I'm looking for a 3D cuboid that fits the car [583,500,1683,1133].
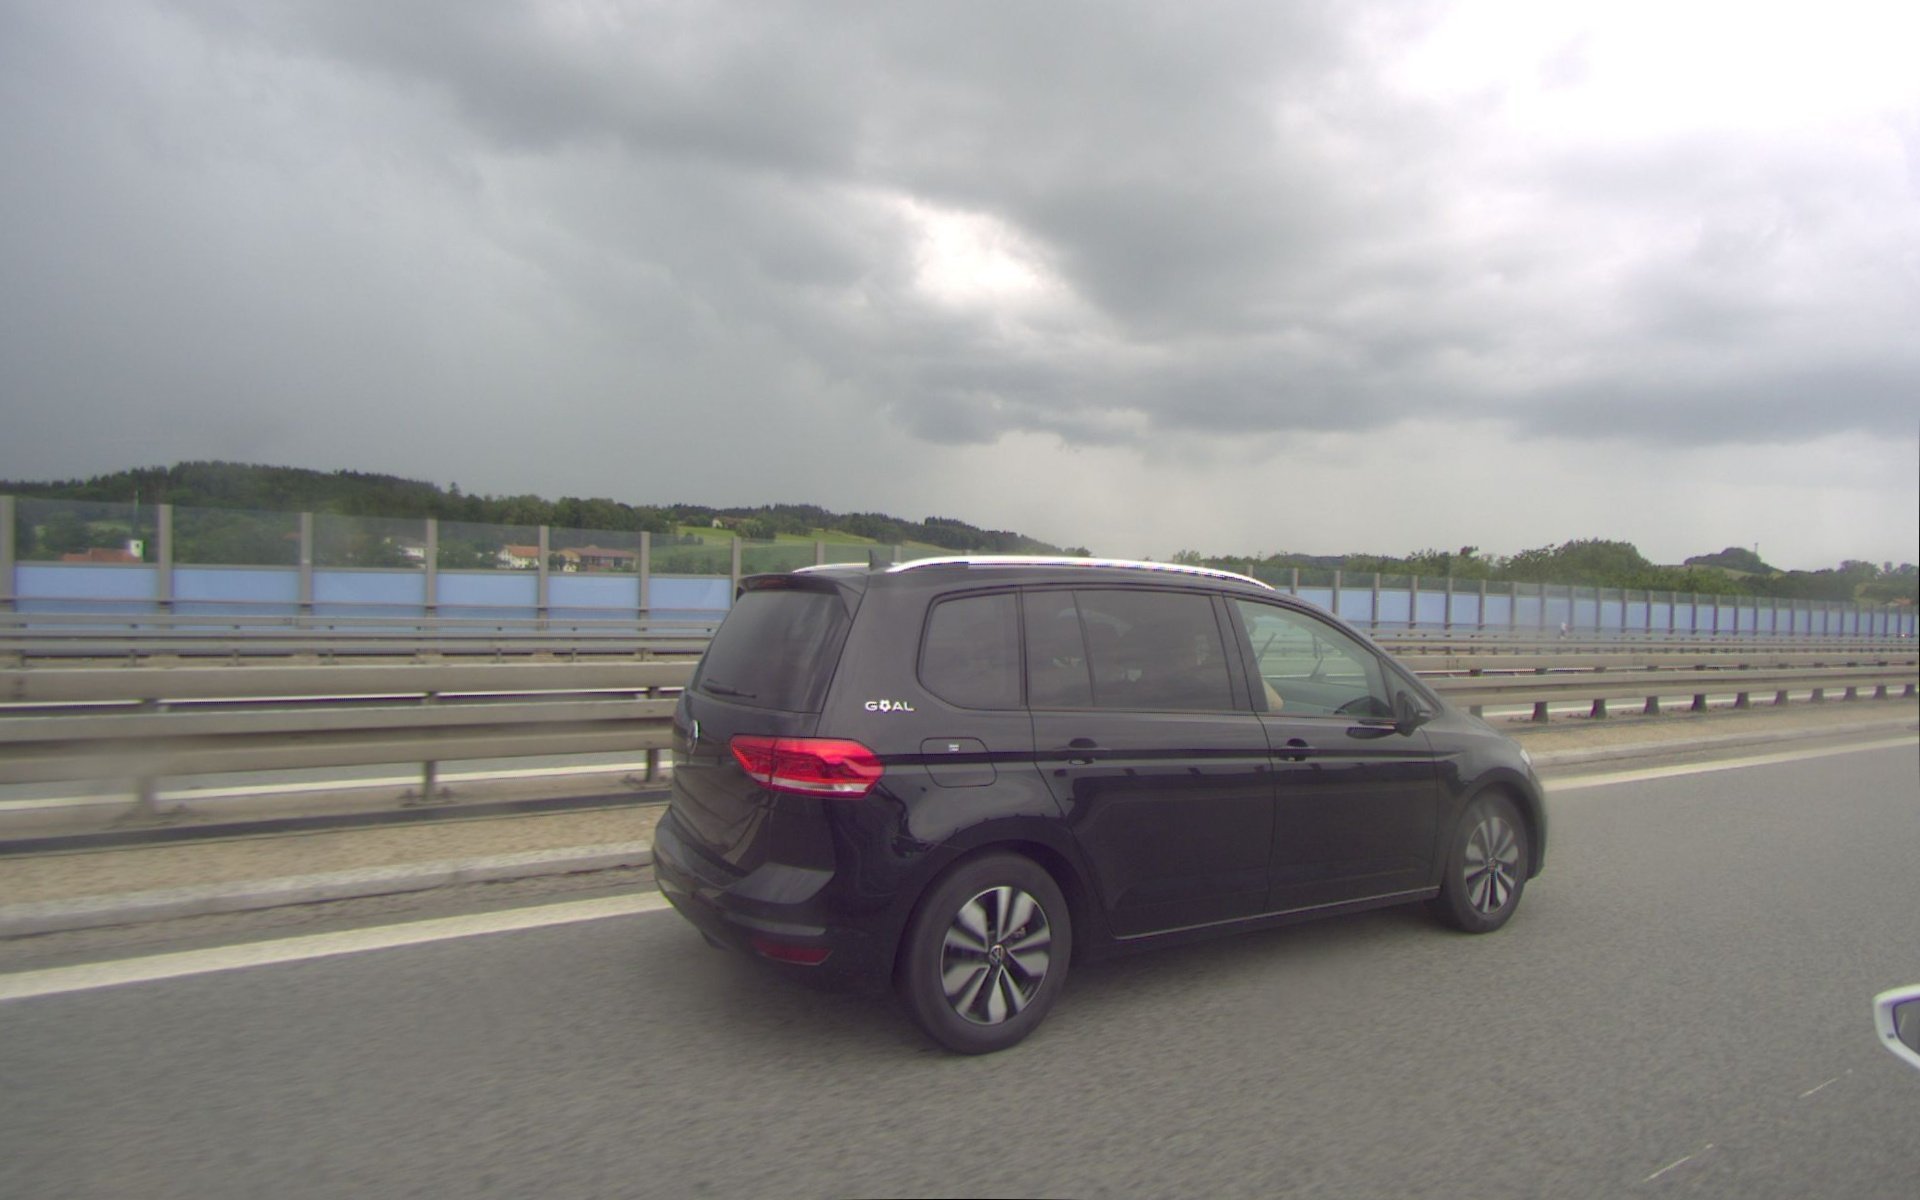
[{"bbox_3d":[1.150,0.629,4.886,5.335,1.693,1.886,1,0,-31],"label":"car"}]
